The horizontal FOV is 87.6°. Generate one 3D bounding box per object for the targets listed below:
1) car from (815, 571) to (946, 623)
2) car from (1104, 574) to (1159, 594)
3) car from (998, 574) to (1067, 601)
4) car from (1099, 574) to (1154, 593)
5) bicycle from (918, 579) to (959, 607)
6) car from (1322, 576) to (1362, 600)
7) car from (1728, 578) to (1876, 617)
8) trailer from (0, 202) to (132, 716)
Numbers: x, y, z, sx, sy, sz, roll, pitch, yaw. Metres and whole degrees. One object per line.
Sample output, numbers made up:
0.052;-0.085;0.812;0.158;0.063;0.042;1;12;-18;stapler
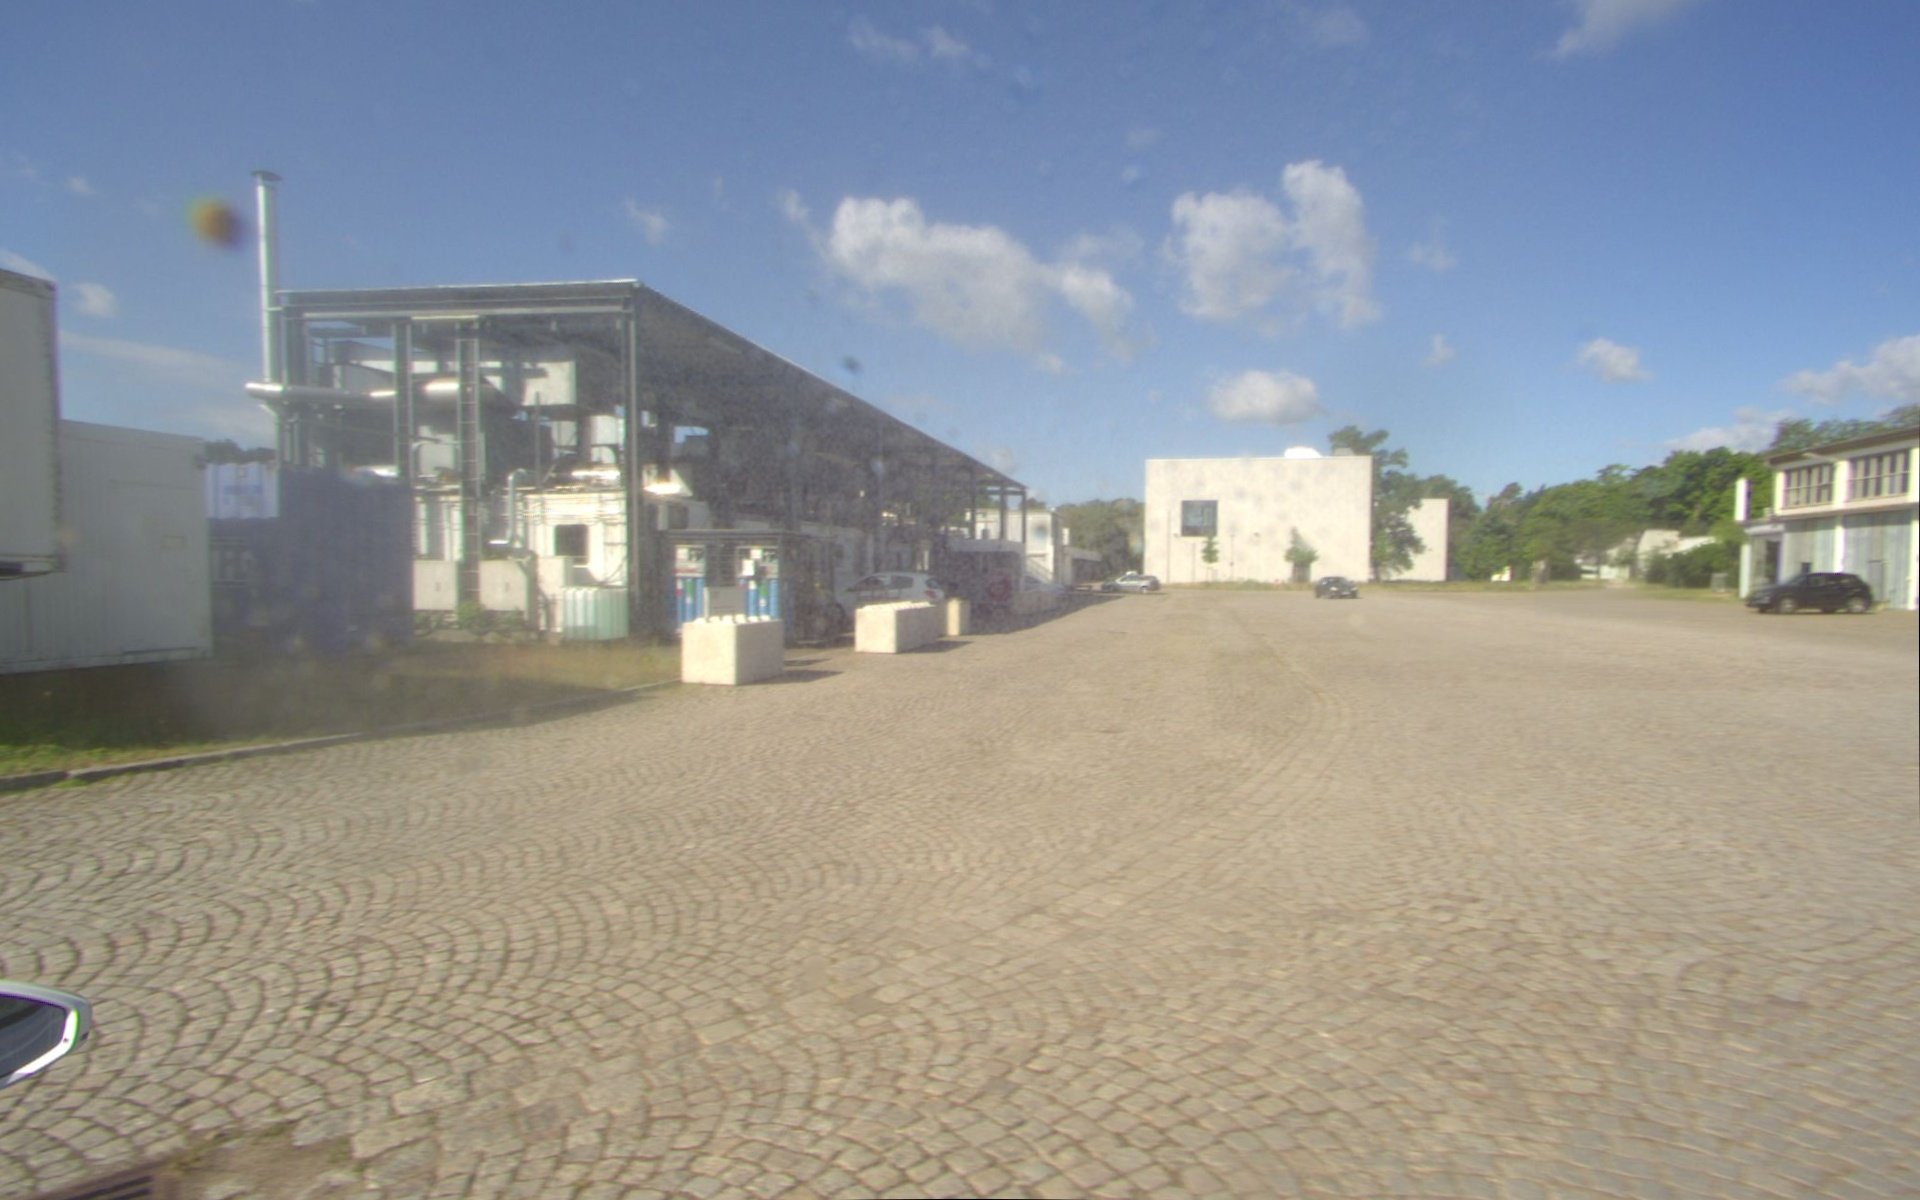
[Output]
-2.210;-0.103;28.291;3.407;1.395;1.609;1;2;10;car
13.954;-1.306;81.335;4.276;1.490;1.738;1;2;12;car
4.009;-0.724;55.124;3.627;1.428;1.674;1;2;10;car
13.023;-1.294;78.230;4.109;1.423;1.739;1;2;12;car
-0.908;-0.284;41.817;1.639;1.152;0.485;1;2;12;bicycle
24.395;-0.808;64.097;1.708;1.449;4.071;1;1;11;car
32.629;-0.106;38.923;3.999;1.490;1.739;0;2;12;car
-12.688;-1.158;8.710;10.685;3.965;2.776;1;2;15;trailer
